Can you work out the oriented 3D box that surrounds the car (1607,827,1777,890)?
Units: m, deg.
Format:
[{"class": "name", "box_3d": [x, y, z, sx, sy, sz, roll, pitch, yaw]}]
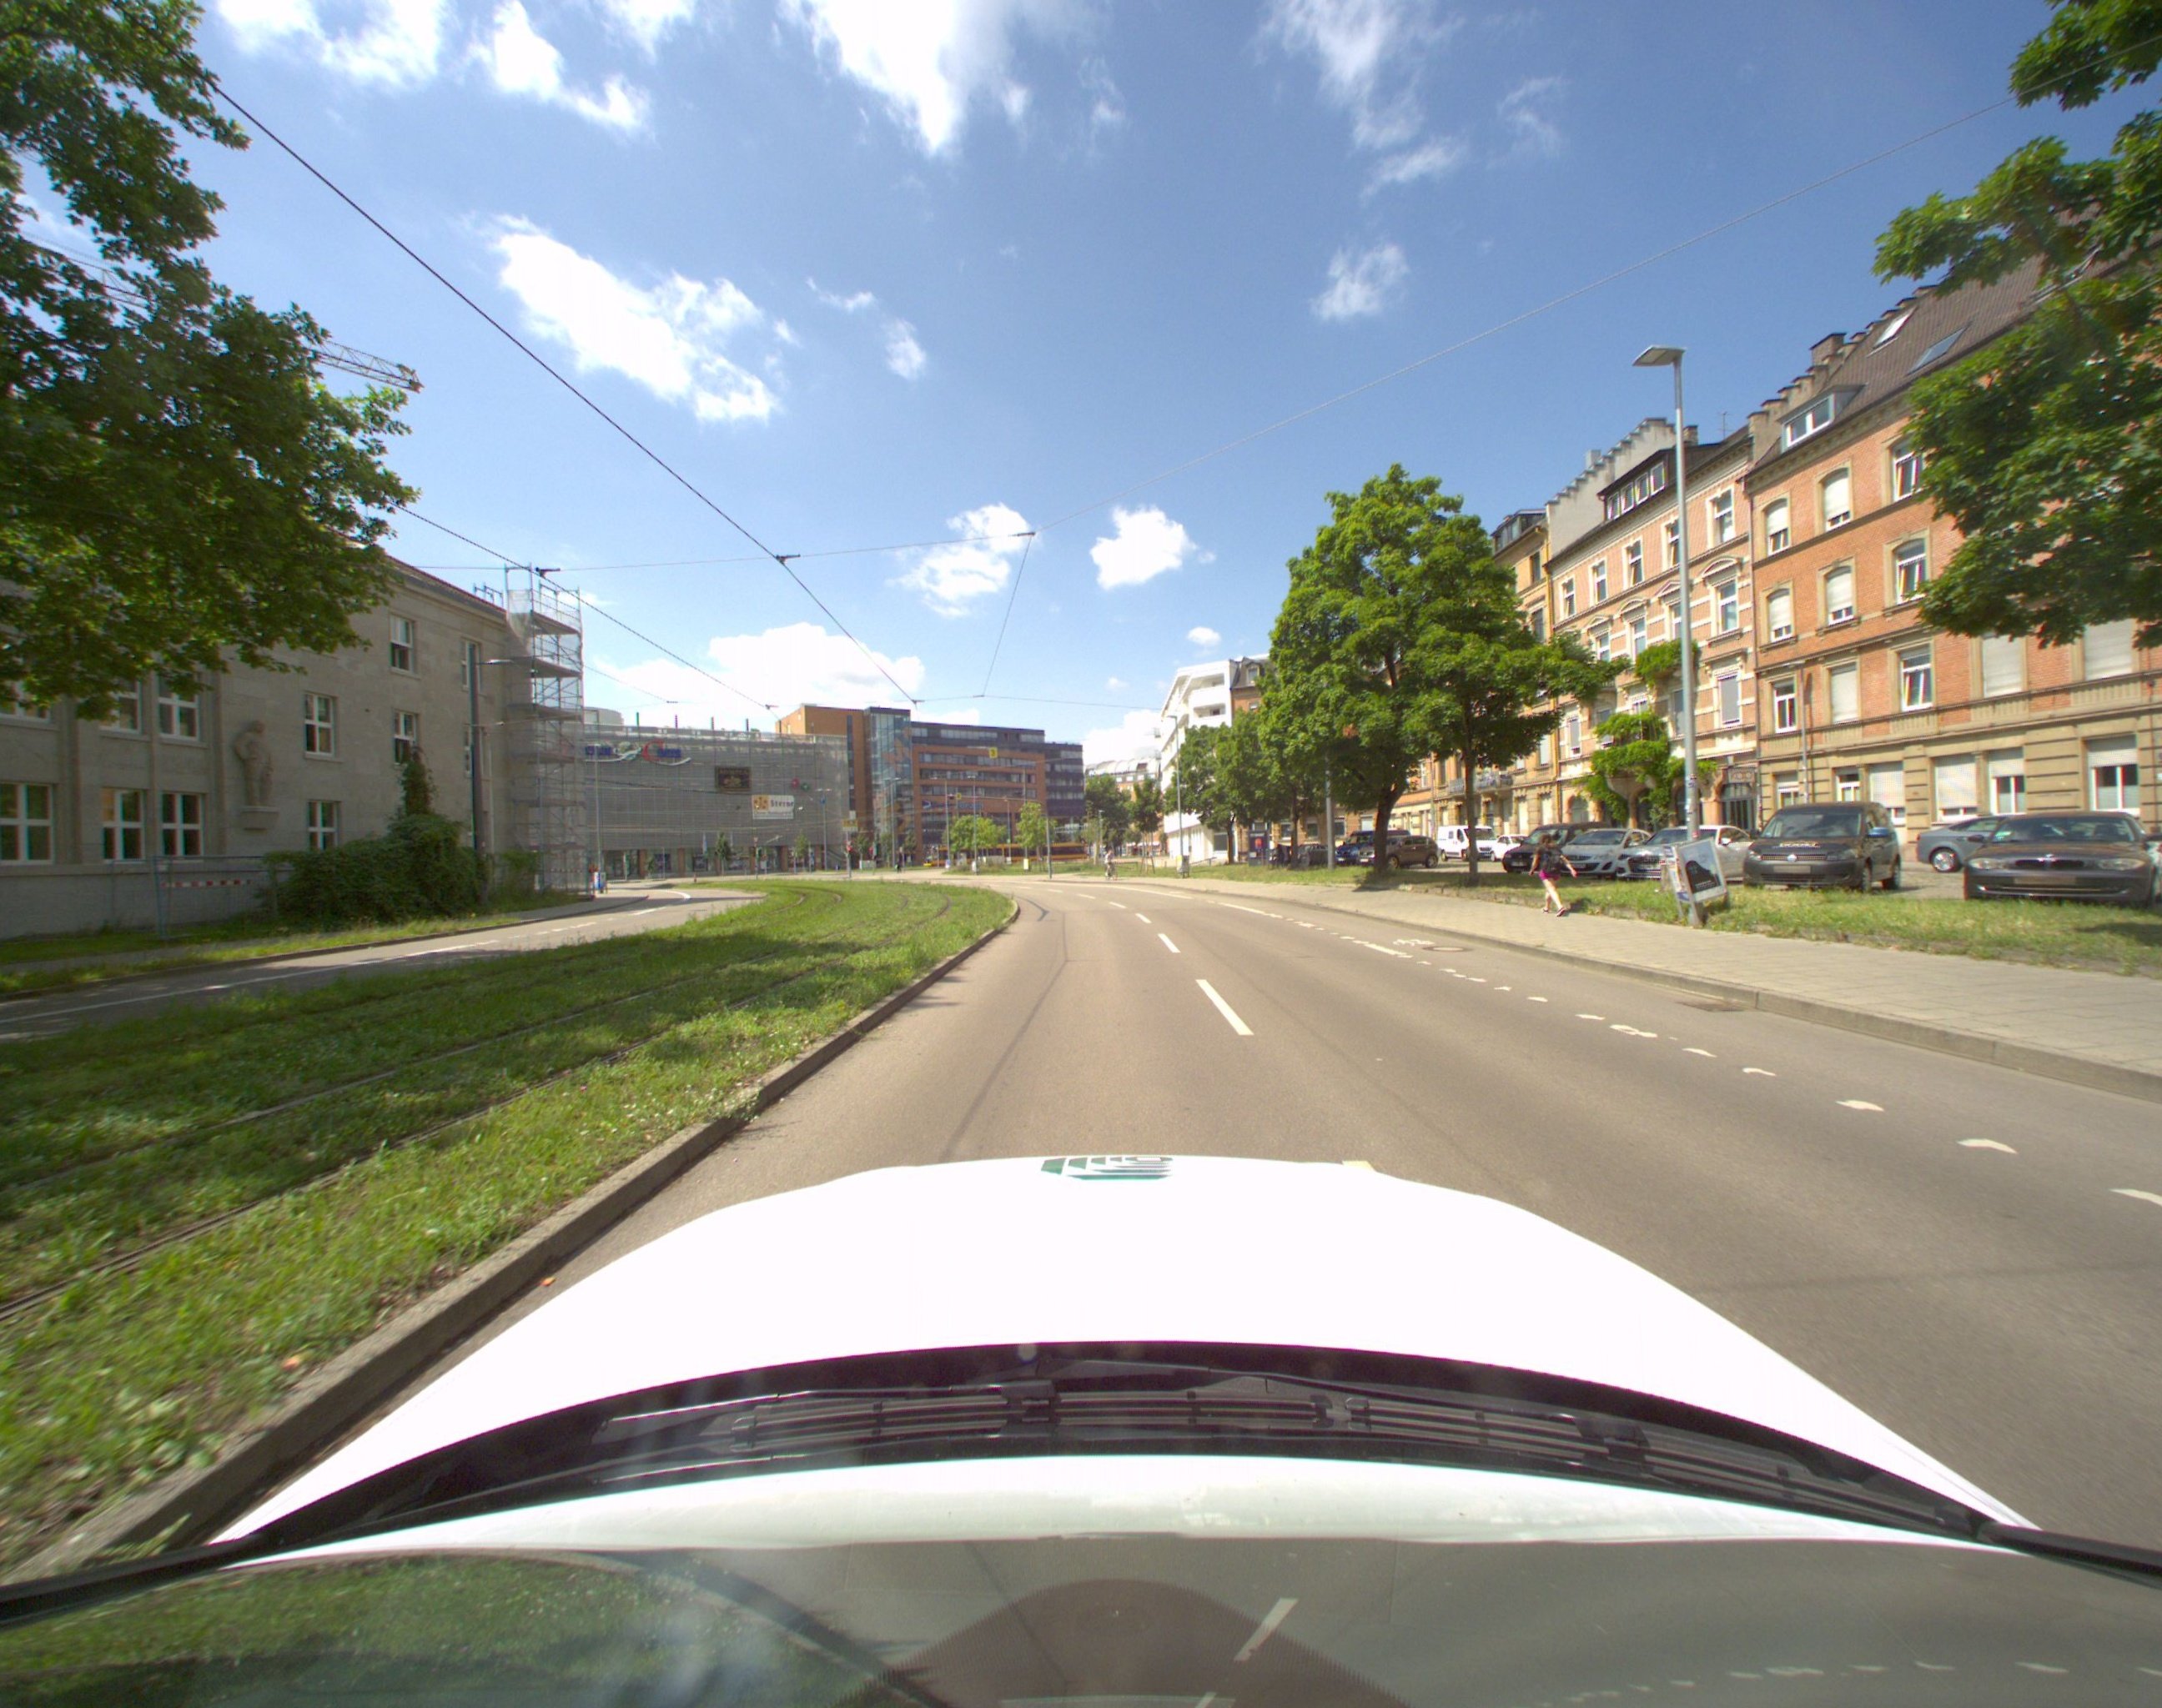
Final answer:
[{"class": "car", "box_3d": [14.963, 0.082, 19.860, 4.711, 1.380, 1.833, -1, -1, -34]}]

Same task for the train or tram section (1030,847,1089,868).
[{"class": "train or tram section", "box_3d": [-3.787, 0.645, 149.147, 3.026, 3.621, 12.715, -2, -1, 40]}]

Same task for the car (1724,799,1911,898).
[{"class": "car", "box_3d": [14.733, -0.102, 16.220, 4.385, 1.741, 1.832, -1, -1, -36]}]

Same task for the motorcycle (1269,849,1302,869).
[{"class": "motorcycle", "box_3d": [12.471, 0.300, 49.703, 1.778, 1.167, 0.639, -2, 0, -1]}]

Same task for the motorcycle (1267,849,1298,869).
[{"class": "motorcycle", "box_3d": [12.479, 0.301, 50.482, 1.778, 1.167, 0.639, -2, 0, -1]}]

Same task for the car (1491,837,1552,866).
[{"class": "car", "box_3d": [23.490, -0.129, 43.571, 1.557, 1.403, 3.354, -2, 0, 4]}]

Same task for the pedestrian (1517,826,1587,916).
[{"class": "pedestrian", "box_3d": [8.783, 0.308, 15.210, 0.698, 1.592, 0.905, -3, -1, 0]}]

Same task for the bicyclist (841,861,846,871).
[{"class": "bicyclist", "box_3d": [-40.553, 2.054, 139.166, 0.667, 1.623, 0.545, 0, -1, -35]}]

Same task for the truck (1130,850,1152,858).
[{"class": "truck", "box_3d": [14.909, 0.012, 203.755, 5.453, 2.086, 2.012, -2, -1, 44]}]

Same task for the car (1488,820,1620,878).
[{"class": "car", "box_3d": [15.270, -0.147, 26.266, 4.162, 1.741, 1.834, -1, -1, -30]}]

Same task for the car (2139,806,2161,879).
[{"class": "car", "box_3d": [23.053, -0.264, 14.945, 1.825, 1.492, 4.228, -1, -1, 1]}]

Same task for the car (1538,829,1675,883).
[{"class": "car", "box_3d": [15.043, 0.042, 23.259, 4.102, 1.405, 1.832, -1, -1, -35]}]

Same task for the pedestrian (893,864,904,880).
[{"class": "pedestrian", "box_3d": [-21.269, 2.094, 94.989, 0.907, 1.702, 0.813, -3, 0, 25]}]

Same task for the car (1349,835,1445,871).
[{"class": "car", "box_3d": [15.069, -0.062, 38.810, 4.182, 1.656, 1.900, -1, -1, -26]}]

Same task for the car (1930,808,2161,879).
[{"class": "car", "box_3d": [23.247, -0.227, 19.322, 1.825, 1.492, 4.228, -1, -1, 1]}]

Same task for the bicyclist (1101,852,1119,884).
[{"class": "bicyclist", "box_3d": [1.706, 0.816, 48.096, 0.696, 1.824, 0.950, -5, 1, -18]}]

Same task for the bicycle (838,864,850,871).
[{"class": "bicycle", "box_3d": [-40.504, 2.272, 139.204, 1.774, 1.224, 0.578, -1, -1, -36]}]

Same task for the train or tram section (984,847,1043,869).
[{"class": "train or tram section", "box_3d": [-11.545, 0.681, 140.116, 3.026, 3.603, 11.060, -2, -1, 42]}]

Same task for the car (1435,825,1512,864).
[{"class": "car", "box_3d": [23.467, -0.492, 48.963, 2.103, 2.178, 5.395, -1, -1, 1]}]

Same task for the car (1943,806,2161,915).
[{"class": "car", "box_3d": [14.811, 0.073, 12.328, 4.287, 1.380, 1.832, -1, -1, -36]}]

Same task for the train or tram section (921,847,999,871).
[{"class": "train or tram section", "box_3d": [-19.318, 0.763, 131.166, 3.185, 3.599, 13.584, -2, -1, 40]}]

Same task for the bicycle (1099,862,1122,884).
[{"class": "bicycle", "box_3d": [1.737, 1.097, 48.078, 0.696, 1.242, 1.827, -5, 1, -18]}]

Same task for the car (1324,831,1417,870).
[{"class": "car", "box_3d": [14.929, -0.169, 41.939, 4.644, 1.927, 1.898, -1, -1, -30]}]

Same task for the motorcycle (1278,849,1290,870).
[{"class": "motorcycle", "box_3d": [11.723, 0.314, 47.046, 0.633, 1.167, 1.913, -2, 0, 13]}]
